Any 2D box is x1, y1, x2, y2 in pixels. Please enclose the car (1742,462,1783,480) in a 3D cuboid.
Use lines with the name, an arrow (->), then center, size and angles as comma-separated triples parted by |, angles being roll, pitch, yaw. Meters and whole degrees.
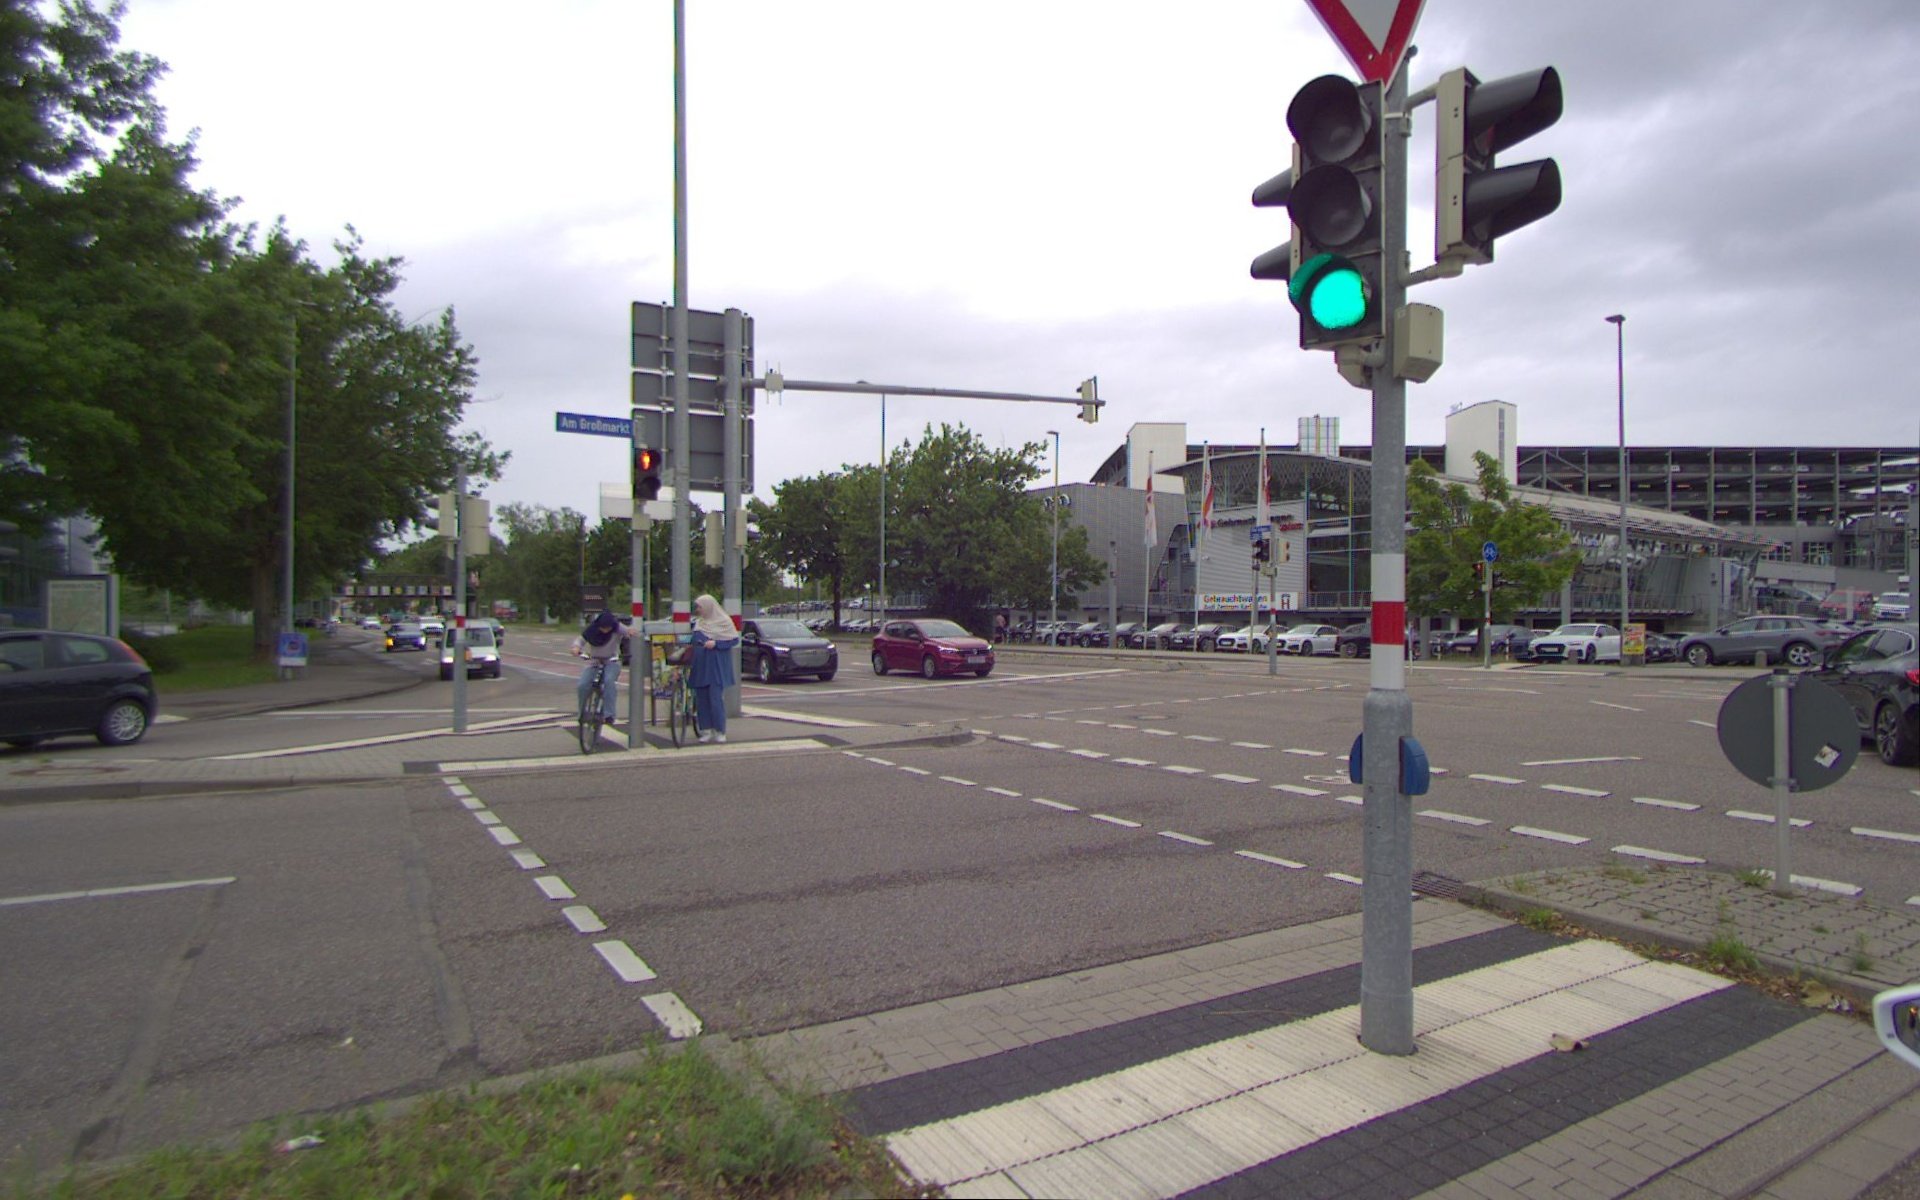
car -> 100.683, -16.134, 126.061 | 1.960, 1.689, 4.000 | 1, 0, 1

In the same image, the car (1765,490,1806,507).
car -> 103.502, -12.752, 126.004 | 1.960, 1.689, 4.000 | 1, 0, 1

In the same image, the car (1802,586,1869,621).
car -> 49.864, 0.208, 57.193 | 3.960, 1.873, 1.980 | 2, 0, -35

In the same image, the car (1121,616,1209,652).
car -> 10.066, 1.663, 49.233 | 4.150, 1.505, 1.890 | 5, -3, -35

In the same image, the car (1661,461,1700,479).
car -> 90.531, -16.320, 126.276 | 1.960, 1.689, 4.000 | 1, 0, 1

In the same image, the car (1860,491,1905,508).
car -> 116.067, -12.689, 126.408 | 1.960, 1.689, 4.000 | 1, 0, 1

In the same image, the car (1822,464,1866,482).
car -> 111.323, -16.029, 126.560 | 1.960, 1.689, 4.000 | 1, 0, 1

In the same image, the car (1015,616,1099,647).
car -> 5.446, 1.771, 56.076 | 4.619, 1.491, 1.829 | 4, -2, -35

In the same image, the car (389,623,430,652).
car -> -29.823, 1.990, 54.367 | 1.683, 1.507, 4.082 | 0, -1, -32

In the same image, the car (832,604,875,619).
car -> -11.891, 1.237, 112.210 | 4.308, 1.516, 2.048 | 2, 0, -36

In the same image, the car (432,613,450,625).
car -> -78.203, 2.866, 151.420 | 2.119, 1.684, 3.748 | 2, 0, -32

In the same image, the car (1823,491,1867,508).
car -> 111.102, -12.657, 126.140 | 1.960, 1.689, 4.000 | 1, 0, 1

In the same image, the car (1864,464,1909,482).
car -> 116.423, -15.994, 126.267 | 1.960, 1.689, 4.000 | 1, 0, 1

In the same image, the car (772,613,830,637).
car -> -13.498, 2.106, 85.345 | 4.365, 1.539, 1.981 | 8, -3, -34

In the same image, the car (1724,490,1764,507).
car -> 98.381, -12.786, 126.124 | 1.960, 1.689, 4.000 | 1, 0, 1

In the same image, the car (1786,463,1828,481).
car -> 106.328, -16.095, 126.107 | 1.960, 1.689, 4.000 | 1, 0, 1

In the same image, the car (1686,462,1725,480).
car -> 93.597, -16.225, 126.190 | 1.960, 1.689, 4.000 | 1, 0, 1

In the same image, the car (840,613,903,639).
car -> -6.525, 1.958, 74.489 | 4.171, 1.505, 1.939 | 7, -3, -35

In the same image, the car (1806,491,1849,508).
car -> 108.880, -12.658, 126.105 | 1.960, 1.689, 4.000 | 1, 0, 1

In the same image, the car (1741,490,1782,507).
car -> 100.529, -12.731, 126.069 | 1.960, 1.689, 4.000 | 1, 0, 1

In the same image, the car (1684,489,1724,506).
car -> 93.418, -12.853, 126.171 | 1.960, 1.689, 4.000 | 1, 0, 1

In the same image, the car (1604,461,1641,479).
car -> 83.284, -16.340, 126.336 | 1.960, 1.689, 4.000 | 1, 0, 1

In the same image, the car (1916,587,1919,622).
car -> 52.224, 0.310, 52.898 | 3.960, 1.847, 1.980 | 2, 0, -35

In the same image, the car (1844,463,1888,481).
car -> 113.948, -16.092, 126.384 | 1.960, 1.689, 4.000 | 1, 0, 1

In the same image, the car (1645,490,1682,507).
car -> 88.418, -12.789, 126.295 | 1.960, 1.689, 4.000 | 1, 0, 1

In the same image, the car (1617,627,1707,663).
car -> 41.214, 2.638, 59.002 | 1.743, 1.862, 3.958 | 2, 0, -36

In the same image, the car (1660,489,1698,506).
car -> 90.621, -12.841, 126.600 | 1.960, 1.689, 4.000 | 1, 0, 1

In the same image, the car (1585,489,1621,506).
car -> 80.793, -12.906, 126.203 | 1.960, 1.689, 4.000 | 1, 0, 1

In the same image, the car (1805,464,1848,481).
car -> 109.079, -16.032, 126.533 | 1.960, 1.689, 4.000 | 1, 0, 1

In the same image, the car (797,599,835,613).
car -> -16.954, 0.739, 118.077 | 4.060, 1.516, 1.712 | 2, 0, -36

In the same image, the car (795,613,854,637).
car -> -10.905, 2.034, 80.908 | 4.148, 1.475, 1.915 | 7, -3, -34

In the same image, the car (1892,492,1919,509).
car -> 119.963, -12.494, 126.286 | 1.960, 1.689, 4.000 | 1, 0, 1

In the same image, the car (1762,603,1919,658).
car -> 34.963, 1.261, 39.696 | 1.982, 2.040, 4.739 | 2, -3, -37

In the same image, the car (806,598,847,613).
car -> -15.412, 0.668, 115.971 | 4.308, 1.516, 1.862 | 2, 0, -36

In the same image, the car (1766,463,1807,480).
car -> 103.707, -16.112, 126.093 | 1.960, 1.689, 4.000 | 1, 0, 1

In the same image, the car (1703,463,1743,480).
car -> 95.869, -16.138, 126.234 | 1.960, 1.689, 4.000 | 1, 0, 1

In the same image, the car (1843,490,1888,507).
car -> 113.865, -12.691, 126.348 | 1.960, 1.689, 4.000 | 1, 0, 1

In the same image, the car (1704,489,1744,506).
car -> 95.879, -12.826, 126.115 | 1.960, 1.689, 4.000 | 1, 0, 1

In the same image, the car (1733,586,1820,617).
car -> 52.839, 0.062, 65.064 | 1.741, 1.862, 3.963 | 2, 0, -33

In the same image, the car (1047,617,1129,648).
car -> 6.889, 1.742, 53.828 | 4.127, 1.409, 1.884 | 5, -3, -35

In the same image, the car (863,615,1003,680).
car -> -0.792, 1.195, 26.093 | 1.723, 1.507, 4.040 | -1, -1, -34

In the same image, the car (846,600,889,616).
car -> -10.145, 0.898, 109.842 | 4.308, 1.516, 1.862 | 2, 0, -36

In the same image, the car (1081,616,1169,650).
car -> 8.496, 1.700, 51.613 | 4.338, 1.489, 1.876 | 5, -3, -35

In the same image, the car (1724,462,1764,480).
car -> 98.506, -16.225, 126.225 | 1.960, 1.689, 4.000 | 1, 0, 1

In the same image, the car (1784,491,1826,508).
car -> 106.088, -12.601, 126.173 | 1.960, 1.689, 4.000 | 1, 0, 1

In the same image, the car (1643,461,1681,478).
car -> 88.319, -16.404, 126.412 | 1.960, 1.689, 4.000 | 1, 0, 1

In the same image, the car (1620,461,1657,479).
car -> 85.498, -16.408, 126.558 | 1.960, 1.689, 4.000 | 1, 0, 1

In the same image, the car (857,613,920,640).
car -> -5.117, 1.886, 72.129 | 4.039, 1.505, 1.801 | 7, -3, -35

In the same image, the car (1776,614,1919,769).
car -> 10.625, 0.901, 11.038 | 1.730, 1.454, 3.995 | 1, 0, 27

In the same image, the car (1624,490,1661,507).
car -> 85.586, -12.728, 126.094 | 1.960, 1.689, 4.000 | 1, 0, 1
